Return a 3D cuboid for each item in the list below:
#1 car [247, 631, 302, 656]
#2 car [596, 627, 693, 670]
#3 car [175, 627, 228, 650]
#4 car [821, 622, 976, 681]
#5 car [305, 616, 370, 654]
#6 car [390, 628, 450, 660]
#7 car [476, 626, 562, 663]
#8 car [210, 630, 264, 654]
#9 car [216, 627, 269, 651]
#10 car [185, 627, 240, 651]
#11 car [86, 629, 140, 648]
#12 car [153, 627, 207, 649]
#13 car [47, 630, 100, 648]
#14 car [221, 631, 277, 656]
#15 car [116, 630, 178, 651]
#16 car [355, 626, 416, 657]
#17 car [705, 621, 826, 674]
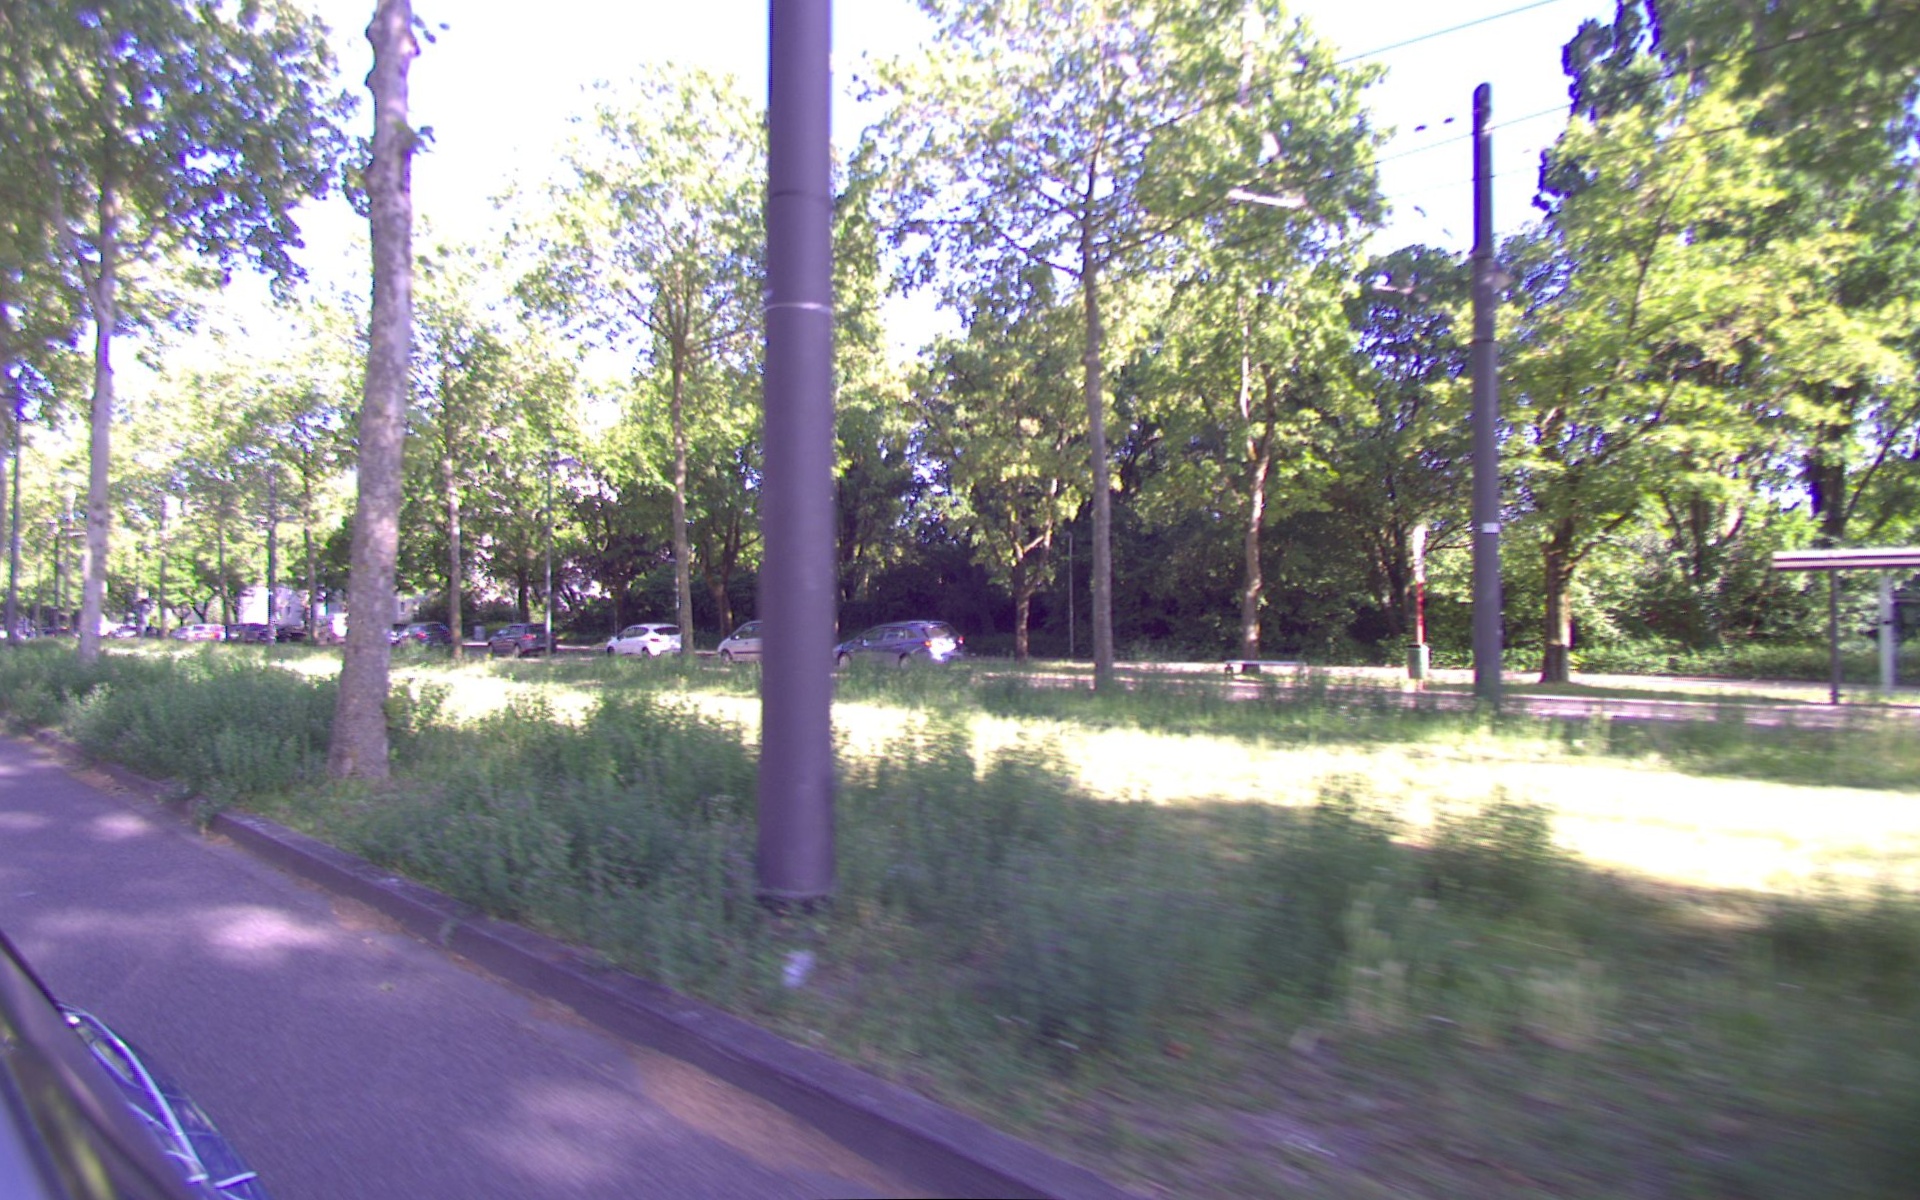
[{"bbox_3d":[-47.636,2.995,70.360,1.858,1.579,4.010,-1,0,-13],"label":"car"},{"bbox_3d":[-12.219,1.835,39.136,4.022,1.429,1.701,-1,2,41],"label":"car"},{"bbox_3d":[-62.628,3.164,83.633,1.868,1.722,4.512,-1,0,-13],"label":"car"},{"bbox_3d":[-1.905,1.468,30.228,4.625,1.499,1.878,-1,2,41],"label":"car"},{"bbox_3d":[-37.184,2.045,60.411,4.275,2.072,1.962,-1,2,40],"label":"car"},{"bbox_3d":[-27.961,2.237,52.370,3.567,1.499,1.525,-2,2,41],"label":"car"},{"bbox_3d":[-20.009,1.978,45.834,4.175,1.499,1.820,-1,2,39],"label":"car"},{"bbox_3d":[-53.049,3.076,74.364,1.858,1.579,4.010,-1,0,-13],"label":"car"},{"bbox_3d":[-56.473,3.039,79.709,1.868,1.722,4.512,-1,0,-13],"label":"car"},{"bbox_3d":[-59.333,3.082,80.387,1.868,1.722,4.512,-1,0,-13],"label":"car"},{"bbox_3d":[-84.724,3.867,101.306,1.821,1.722,3.989,-1,0,9],"label":"car"},{"bbox_3d":[-65.674,3.165,85.297,1.868,1.722,4.512,-1,0,-13],"label":"car"},{"bbox_3d":[-92.920,4.049,106.115,1.821,1.722,3.989,-1,0,9],"label":"car"},{"bbox_3d":[-50.285,3.033,71.631,1.858,1.579,4.010,-1,0,-13],"label":"car"},{"bbox_3d":[-76.728,3.811,95.577,1.878,1.722,4.487,-1,0,9],"label":"car"},{"bbox_3d":[-31.792,2.284,56.010,3.815,1.507,1.732,-1,2,41],"label":"car"},{"bbox_3d":[-6.660,1.565,34.441,4.188,1.608,1.797,-1,2,41],"label":"car"}]
